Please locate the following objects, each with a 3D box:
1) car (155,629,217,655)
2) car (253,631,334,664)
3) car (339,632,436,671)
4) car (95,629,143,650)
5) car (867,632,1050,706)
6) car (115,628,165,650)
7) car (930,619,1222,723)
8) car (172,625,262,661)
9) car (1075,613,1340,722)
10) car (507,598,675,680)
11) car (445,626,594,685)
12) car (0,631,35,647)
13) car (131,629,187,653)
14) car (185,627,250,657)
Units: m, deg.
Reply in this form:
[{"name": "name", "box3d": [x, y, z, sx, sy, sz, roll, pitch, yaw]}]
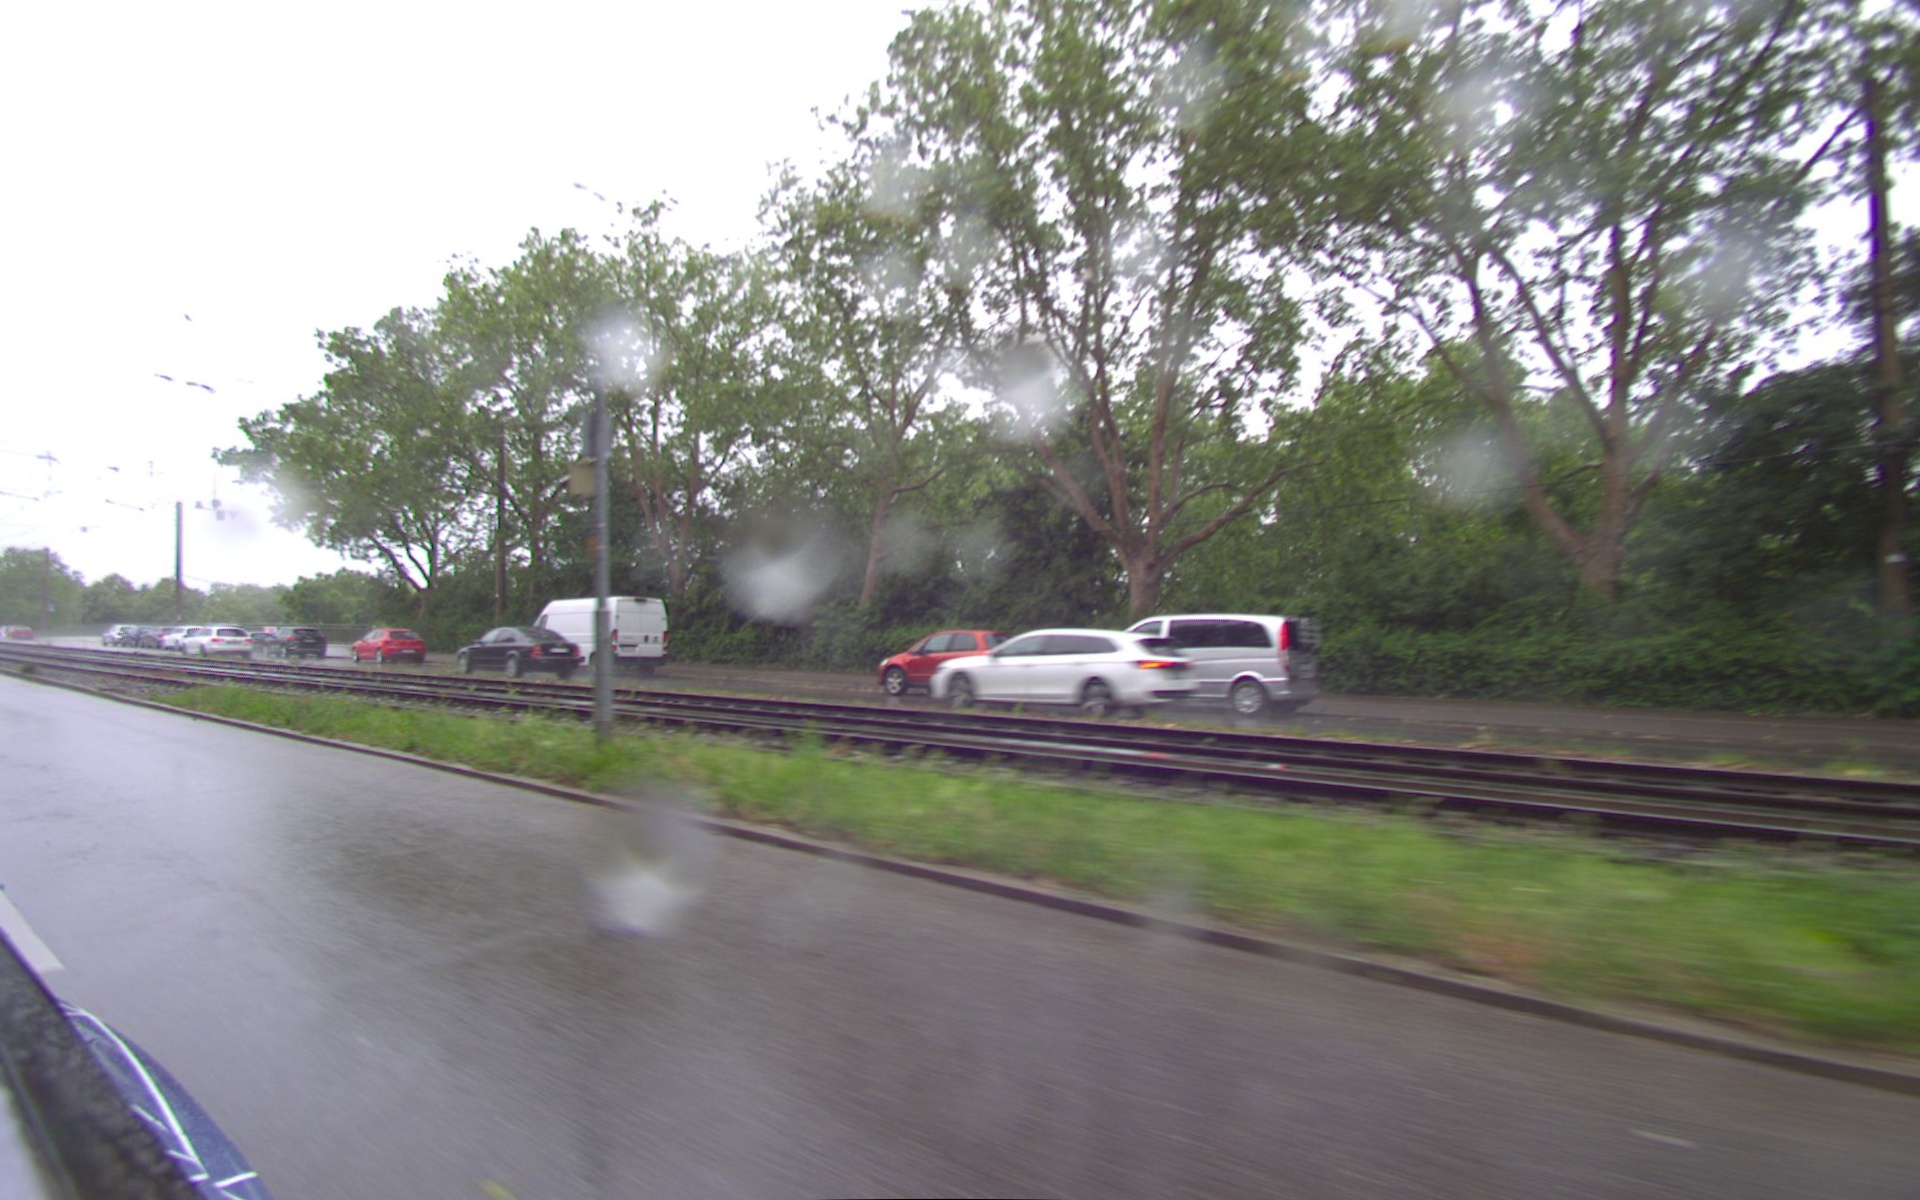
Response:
[{"name": "car", "box3d": [-46.747, 2.548, 61.079, 4.572, 1.522, 1.867, -1, -3, 38]}, {"name": "car", "box3d": [-33.007, 2.338, 50.102, 4.378, 1.564, 2.014, -1, -3, 37]}, {"name": "car", "box3d": [-24.388, 2.150, 43.066, 4.378, 1.564, 2.014, -1, -3, 37]}, {"name": "car", "box3d": [-59.573, 2.802, 71.670, 4.145, 1.442, 1.633, -1, -2, 36]}, {"name": "car", "box3d": [-0.080, 1.533, 23.419, 4.020, 1.564, 1.800, -1, -3, 39]}, {"name": "car", "box3d": [-55.504, 2.640, 68.496, 3.917, 1.442, 1.633, -1, -3, 36]}, {"name": "car", "box3d": [1.927, 1.168, 17.650, 4.761, 1.579, 1.959, -1, -3, 38]}, {"name": "car", "box3d": [-34.278, 1.964, 46.634, 4.989, 1.564, 2.014, -1, -3, 37]}, {"name": "car", "box3d": [4.715, 1.238, 19.651, 4.635, 1.876, 1.937, -1, -3, 39]}, {"name": "car", "box3d": [-12.227, 1.262, 33.329, 6.132, 2.465, 2.307, -1, -3, 39]}, {"name": "car", "box3d": [-12.681, 1.545, 29.012, 4.561, 1.564, 2.013, -1, -3, 39]}, {"name": "car", "box3d": [-91.360, 3.734, 97.855, 4.910, 1.478, 2.014, -2, -2, 37]}, {"name": "car", "box3d": [-51.444, 2.628, 64.959, 4.122, 1.442, 1.634, -1, -3, 34]}, {"name": "car", "box3d": [-41.936, 2.360, 57.131, 4.364, 1.663, 1.867, -1, -3, 39]}]
